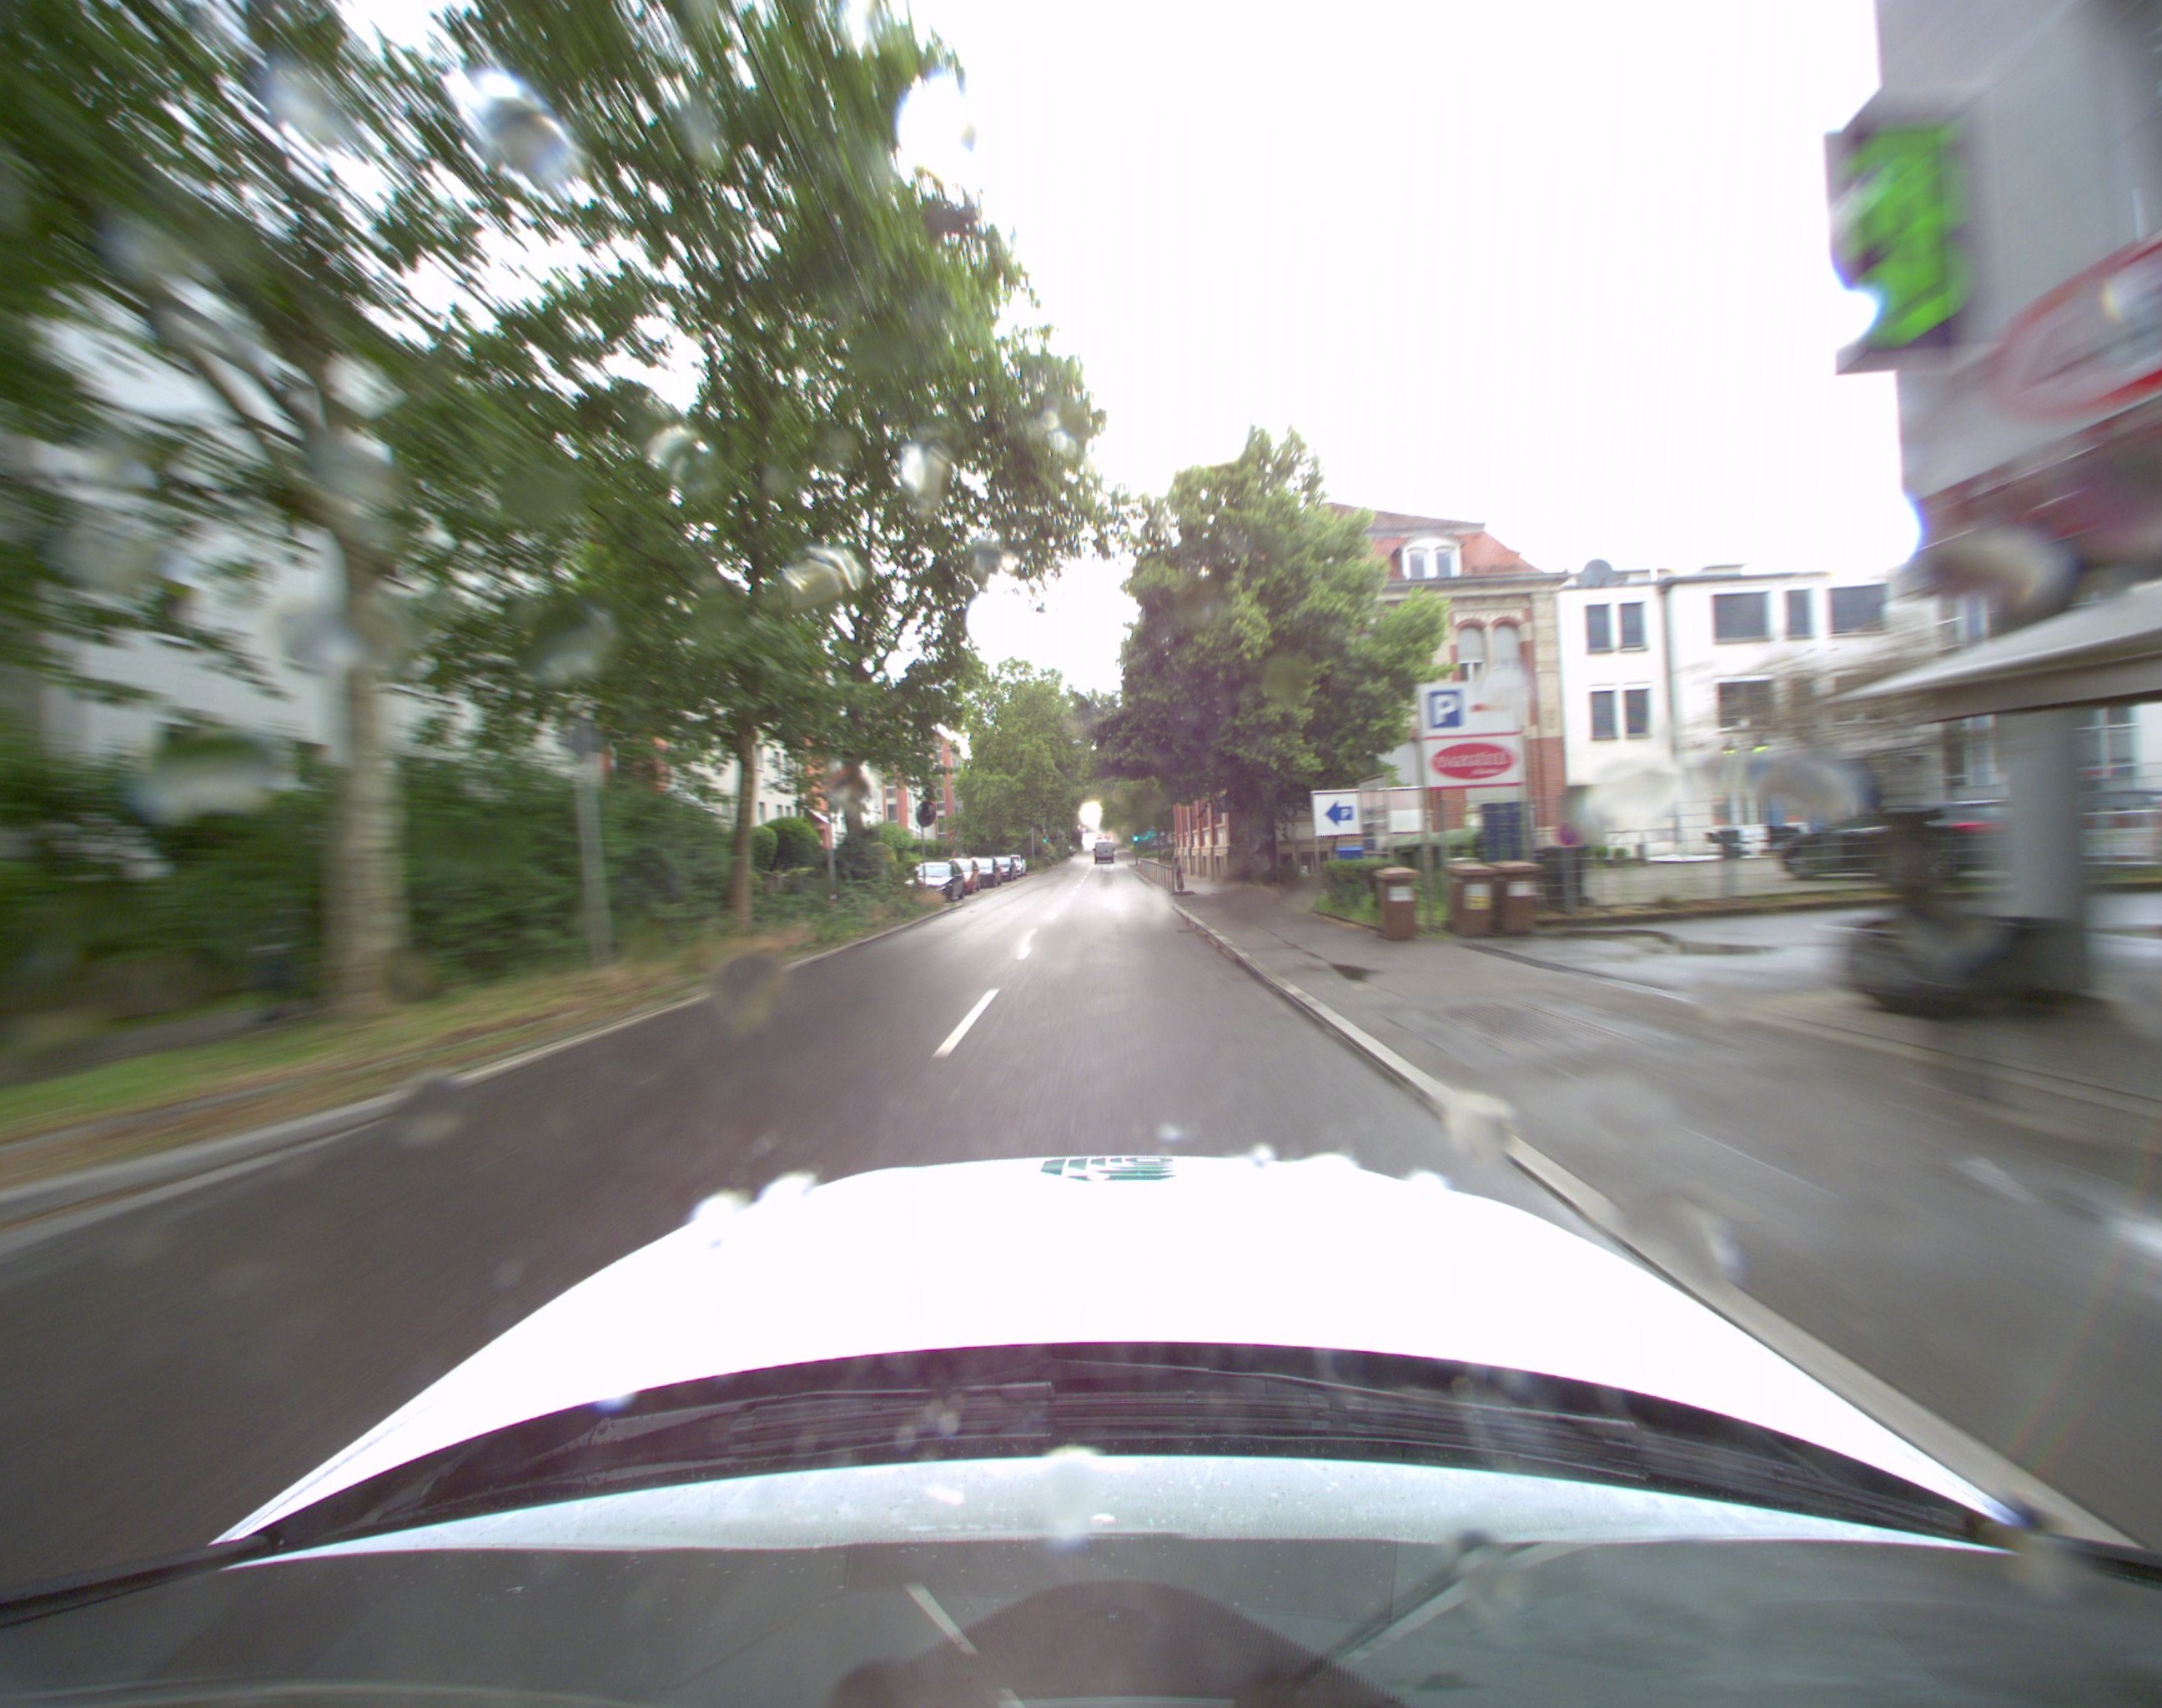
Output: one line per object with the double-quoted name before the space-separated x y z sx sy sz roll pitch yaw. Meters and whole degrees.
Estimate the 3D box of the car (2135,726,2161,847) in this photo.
"car" 26.520 -1.566 16.443 2.145 2.700 6.139 0 -1 -30

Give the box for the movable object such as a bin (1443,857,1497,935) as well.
"movable object such as a bin" 5.870 0.622 12.313 0.528 1.115 0.561 -3 0 4

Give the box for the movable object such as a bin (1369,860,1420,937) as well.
"movable object such as a bin" 4.773 0.665 12.416 0.503 1.115 0.618 -3 0 2

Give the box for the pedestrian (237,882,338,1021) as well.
"pedestrian" -9.848 1.190 10.128 0.594 1.630 0.591 -3 0 -1

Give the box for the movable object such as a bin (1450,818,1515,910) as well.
"movable object such as a bin" 6.950 0.170 14.133 0.735 1.508 0.625 -3 0 -2

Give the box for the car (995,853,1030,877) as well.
"car" -4.527 0.701 54.204 1.710 1.467 4.312 -2 0 2

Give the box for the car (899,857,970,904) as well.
"car" -5.278 0.901 30.008 1.711 1.509 4.803 -2 0 0

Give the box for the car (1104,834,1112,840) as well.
"car" 8.394 -5.463 255.396 2.138 1.709 3.879 -1 -1 6

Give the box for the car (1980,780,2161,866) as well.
"car" 19.123 -0.570 14.736 1.518 1.486 3.504 -4 0 -13

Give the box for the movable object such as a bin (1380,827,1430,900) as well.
"movable object such as a bin" 6.898 0.200 17.373 0.735 1.501 0.625 -3 0 -2

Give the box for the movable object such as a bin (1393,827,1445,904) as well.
"movable object such as a bin" 6.932 0.221 16.723 0.735 1.508 0.625 -3 0 -2

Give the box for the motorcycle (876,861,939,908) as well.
"motorcycle" -5.448 0.952 25.626 1.706 1.340 0.722 -4 0 1

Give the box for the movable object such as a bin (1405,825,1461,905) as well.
"movable object such as a bin" 6.938 0.207 16.077 0.735 1.508 0.625 -3 0 -2

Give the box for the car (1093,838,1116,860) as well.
"car" 2.508 -0.540 86.270 2.327 2.231 4.002 -1 -1 2

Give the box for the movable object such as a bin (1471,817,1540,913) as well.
"movable object such as a bin" 7.003 0.170 13.454 0.735 1.508 0.625 -3 0 -2

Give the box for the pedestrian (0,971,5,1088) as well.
"pedestrian" -9.447 1.288 6.602 0.594 1.397 0.591 -3 0 -1

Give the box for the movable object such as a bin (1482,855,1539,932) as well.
"movable object such as a bin" 6.508 0.584 12.369 0.503 1.115 0.618 -3 0 2

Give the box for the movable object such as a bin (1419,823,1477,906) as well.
"movable object such as a bin" 6.946 0.195 15.439 0.735 1.508 0.625 -3 0 -2

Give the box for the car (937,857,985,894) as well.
"car" -5.250 0.928 35.877 1.550 1.467 3.397 -2 0 0

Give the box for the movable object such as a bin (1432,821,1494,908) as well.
"movable object such as a bin" 6.930 0.188 14.800 0.735 1.508 0.625 -4 0 -2

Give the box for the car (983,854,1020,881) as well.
"car" -4.595 0.746 47.384 1.711 1.467 4.232 -2 0 -1

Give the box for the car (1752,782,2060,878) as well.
"car" 15.267 -0.367 15.463 1.657 1.486 4.135 -4 -1 2

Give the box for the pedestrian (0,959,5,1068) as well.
"pedestrian" -10.410 1.205 7.347 0.538 1.630 0.591 -3 0 -1

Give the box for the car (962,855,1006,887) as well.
"car" -4.845 0.830 41.227 1.711 1.467 3.756 -2 0 0
